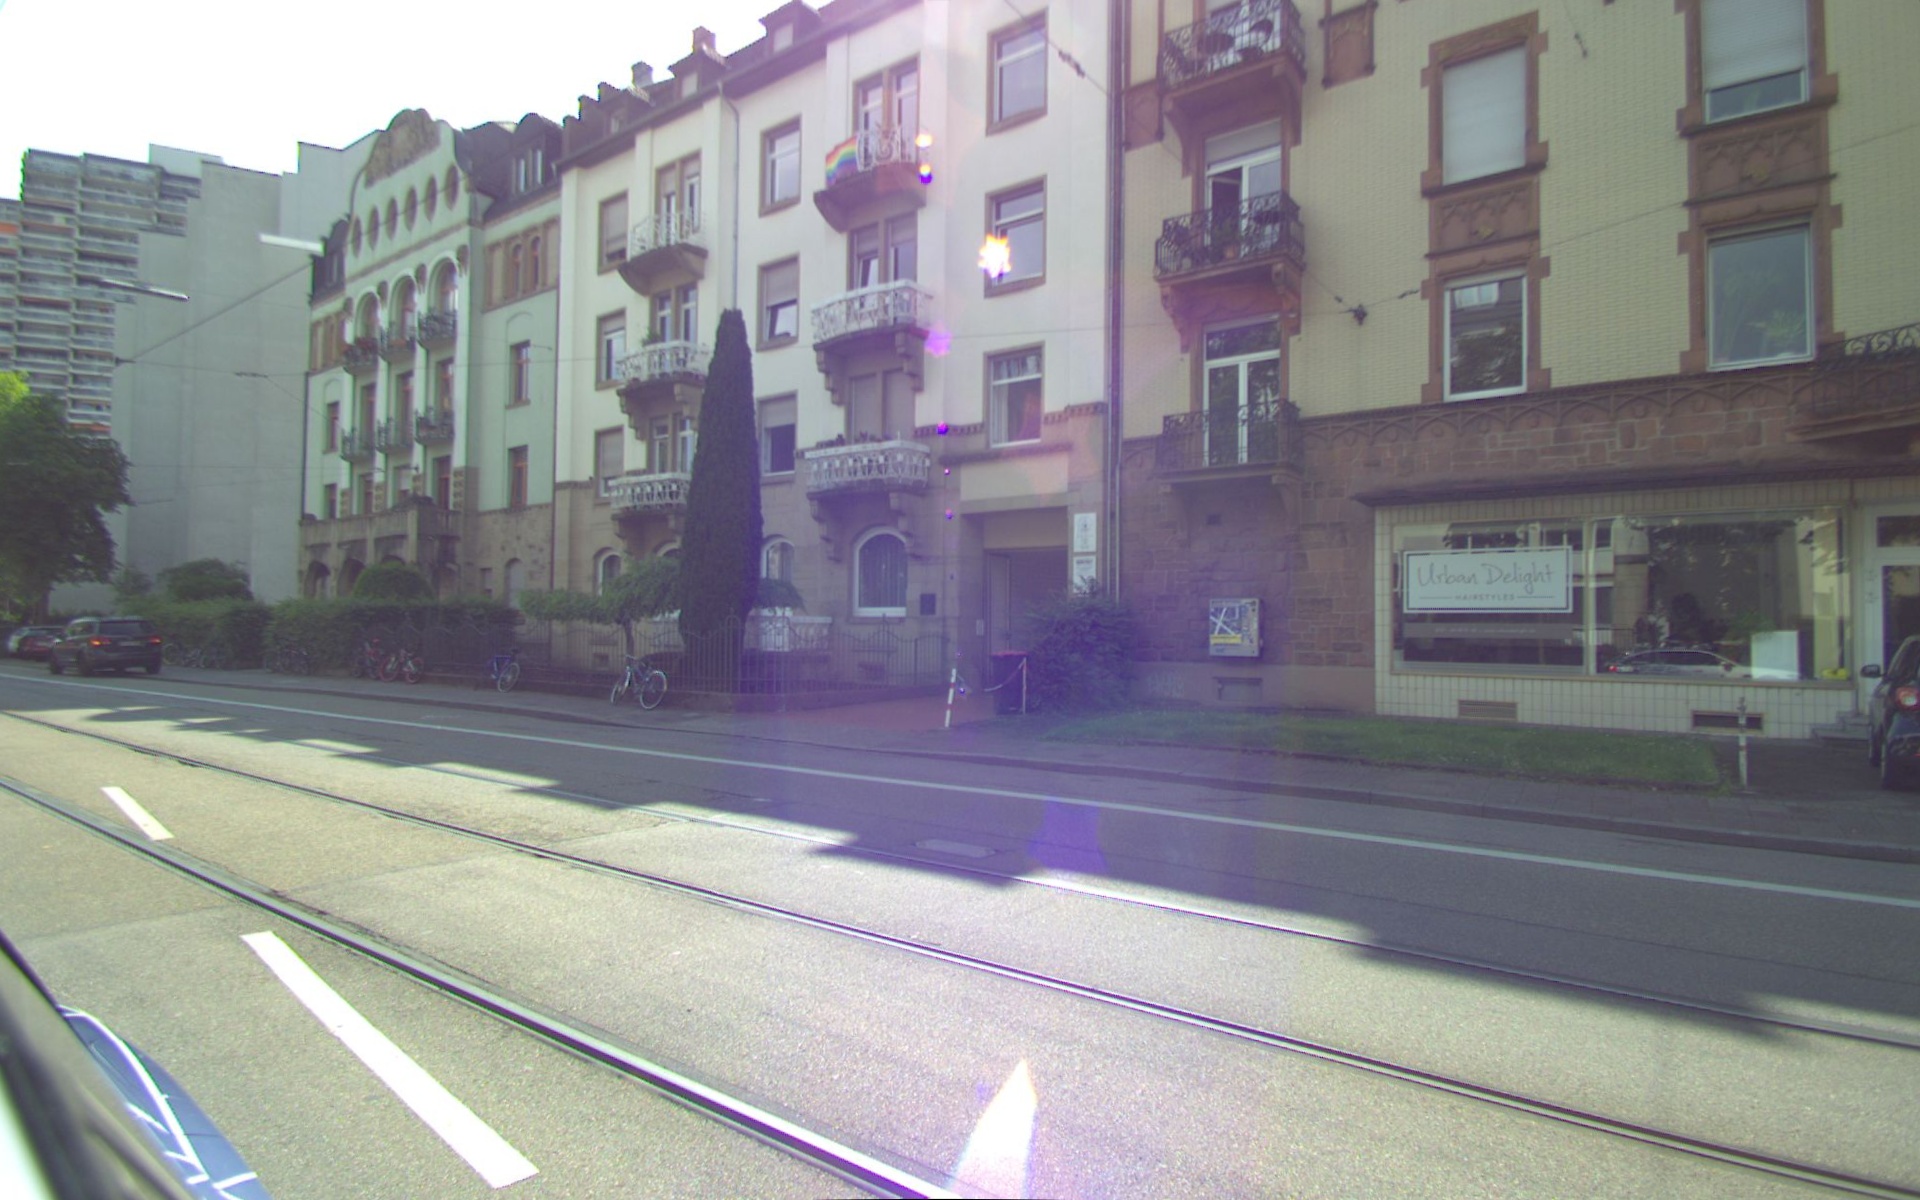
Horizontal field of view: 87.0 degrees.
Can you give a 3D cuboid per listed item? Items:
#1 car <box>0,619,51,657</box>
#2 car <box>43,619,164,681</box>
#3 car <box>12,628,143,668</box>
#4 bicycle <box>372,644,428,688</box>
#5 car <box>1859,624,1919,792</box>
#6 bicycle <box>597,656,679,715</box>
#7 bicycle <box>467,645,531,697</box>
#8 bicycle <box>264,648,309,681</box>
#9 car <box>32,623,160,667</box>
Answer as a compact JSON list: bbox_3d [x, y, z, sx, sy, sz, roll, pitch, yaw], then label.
[{"bbox_3d":[-49.470,1.939,51.899,1.829,1.940,3.947,-1,-3,39],"label":"car"},{"bbox_3d":[-25.583,1.465,30.194,4.323,1.724,1.775,-1,-3,37],"label":"car"},{"bbox_3d":[-36.586,1.980,42.020,1.633,1.547,3.842,-1,-3,39],"label":"car"},{"bbox_3d":[-13.636,1.583,24.609,1.872,0.993,0.579,0,-2,42],"label":"bicycle"},{"bbox_3d":[10.563,1.036,10.418,1.704,1.497,3.411,-1,-1,38],"label":"car"},{"bbox_3d":[-5.973,1.558,18.714,2.068,0.913,0.517,1,-1,45],"label":"bicycle"},{"bbox_3d":[-10.011,1.514,21.956,1.872,1.037,0.532,0,-2,42],"label":"bicycle"},{"bbox_3d":[-18.596,1.756,27.943,1.872,0.803,0.579,0,0,42],"label":"bicycle"},{"bbox_3d":[-34.286,1.769,40.219,1.608,1.652,3.587,-1,-2,37],"label":"car"}]
